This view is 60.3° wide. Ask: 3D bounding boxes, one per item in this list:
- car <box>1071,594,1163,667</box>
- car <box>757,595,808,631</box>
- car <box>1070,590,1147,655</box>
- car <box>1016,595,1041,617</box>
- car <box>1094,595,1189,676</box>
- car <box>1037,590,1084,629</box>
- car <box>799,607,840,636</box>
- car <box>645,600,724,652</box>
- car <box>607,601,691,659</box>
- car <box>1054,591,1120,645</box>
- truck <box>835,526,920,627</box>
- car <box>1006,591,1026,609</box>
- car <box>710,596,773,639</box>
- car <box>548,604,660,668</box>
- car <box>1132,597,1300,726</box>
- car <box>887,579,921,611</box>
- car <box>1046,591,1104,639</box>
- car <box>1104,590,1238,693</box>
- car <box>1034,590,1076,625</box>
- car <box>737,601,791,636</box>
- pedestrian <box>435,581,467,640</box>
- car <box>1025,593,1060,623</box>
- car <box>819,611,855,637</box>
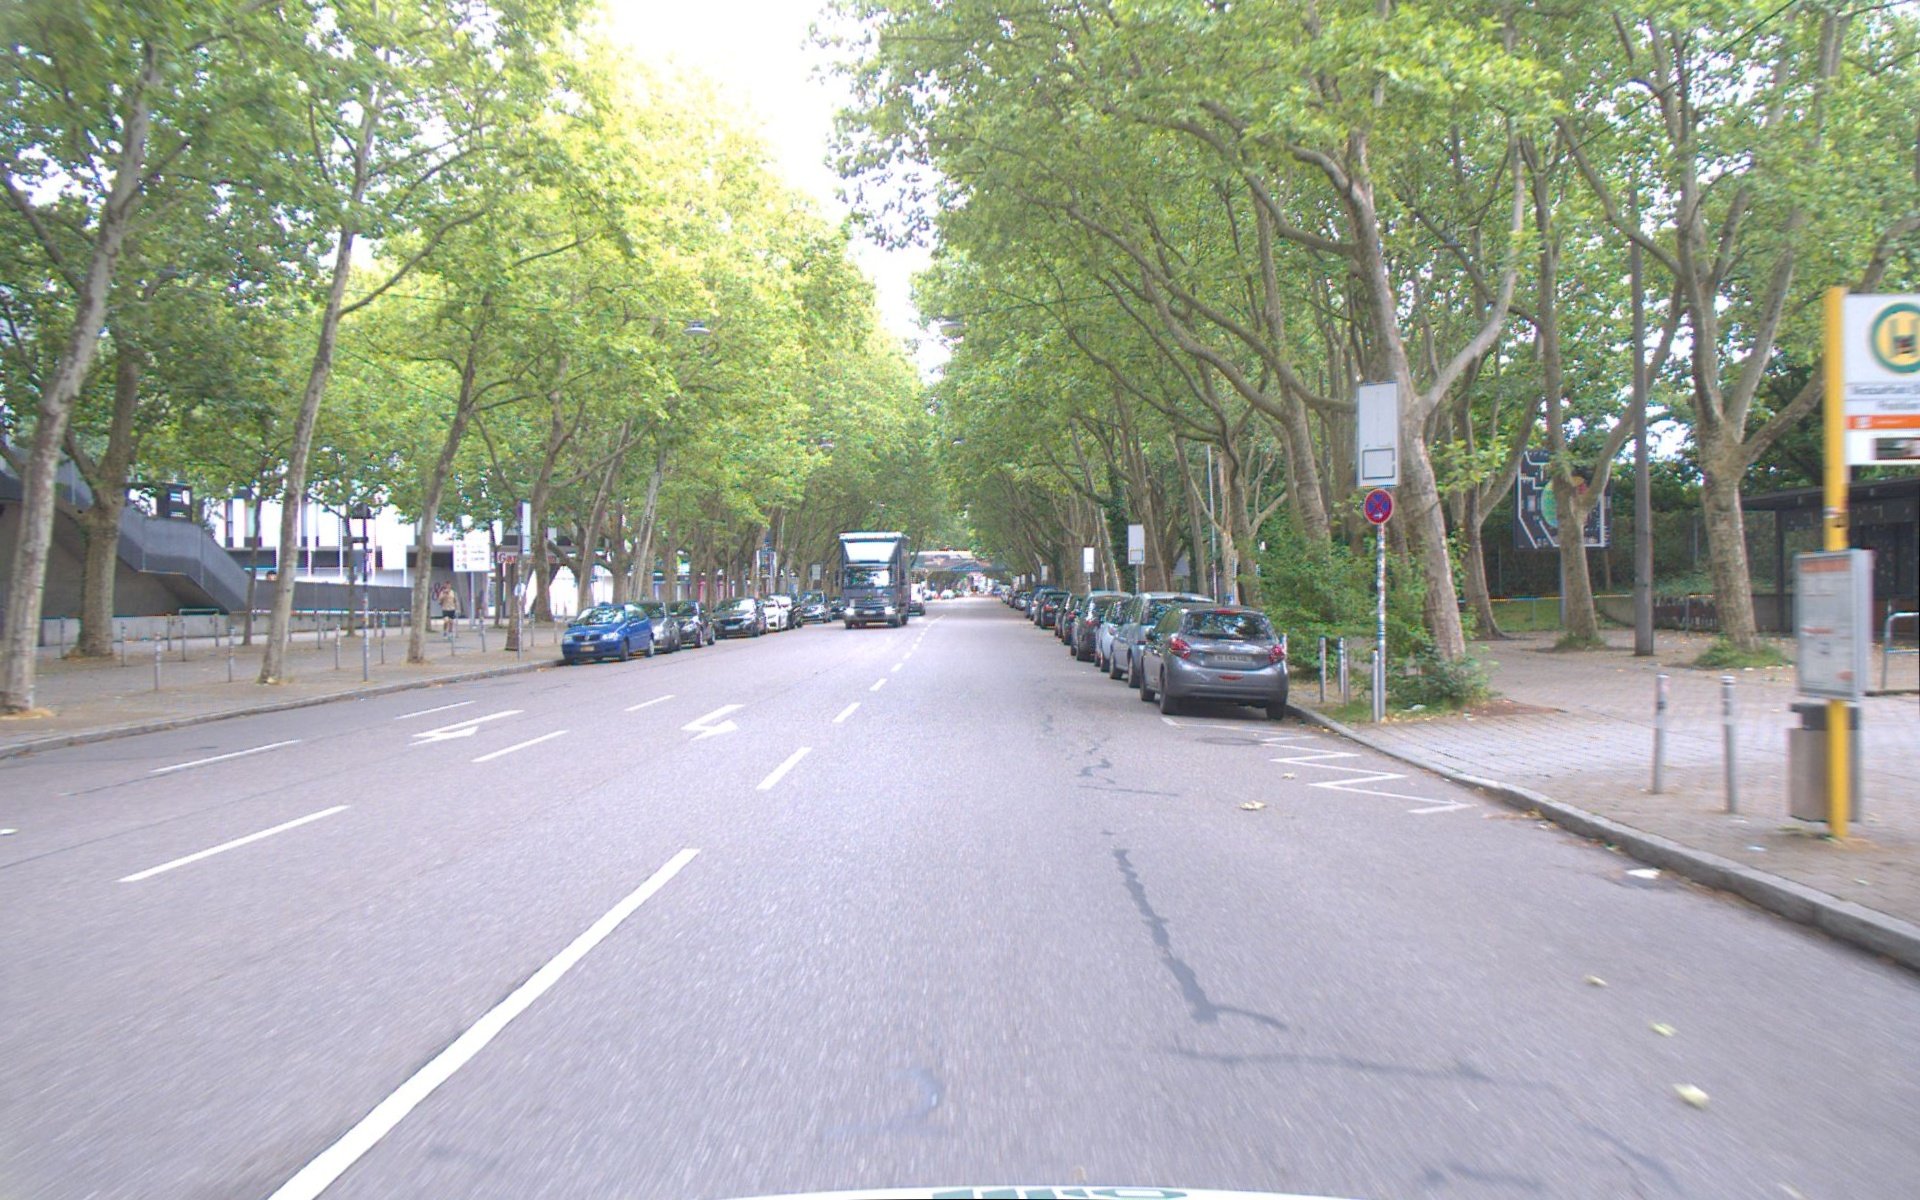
[{"bbox_3d":[3.640,0.679,39.063,1.720,1.516,4.417,3,0,0],"label":"car"},{"bbox_3d":[-7.927,0.616,74.143,1.856,1.463,3.999,-2,-2,-1],"label":"car"},{"bbox_3d":[3.959,0.576,44.728,1.720,1.625,3.929,2,0,0],"label":"car"},{"bbox_3d":[5.221,0.428,125.564,1.720,1.561,3.929,-2,0,0],"label":"car"},{"bbox_3d":[3.717,0.703,34.364,1.641,1.516,3.688,3,0,2],"label":"car"},{"bbox_3d":[4.210,0.386,69.566,1.720,1.561,3.929,2,0,0],"label":"car"},{"bbox_3d":[-7.509,1.162,88.490,1.856,1.463,3.999,-2,-2,-1],"label":"car"},{"bbox_3d":[-8.498,0.810,51.263,1.730,1.443,3.761,-3,-1,0],"label":"car"},{"bbox_3d":[-8.693,0.840,46.515,1.730,1.443,3.759,-3,-1,-3],"label":"car"},{"bbox_3d":[3.875,0.536,50.843,1.720,1.561,3.929,2,0,0],"label":"car"},{"bbox_3d":[-3.452,-0.947,71.356,2.586,3.970,9.544,-2,0,3],"label":"truck"},{"bbox_3d":[5.164,0.012,153.045,1.720,1.561,3.929,2,0,0],"label":"car"},{"bbox_3d":[-8.040,0.670,61.185,1.730,1.443,3.761,-3,-1,0],"label":"car"},{"bbox_3d":[-8.893,0.879,41.627,1.659,1.443,3.763,-4,-1,5],"label":"car"},{"bbox_3d":[3.532,0.790,23.542,1.664,1.545,4.454,3,0,0],"label":"car"},{"bbox_3d":[-3.494,-0.308,103.907,1.939,1.967,4.113,0,0,0],"label":"car"},{"bbox_3d":[3.969,0.508,57.580,1.720,1.561,3.929,2,0,0],"label":"car"},{"bbox_3d":[3.662,0.683,29.299,1.684,1.594,4.093,3,0,-1],"label":"car"},{"bbox_3d":[4.319,0.343,75.660,1.720,1.561,3.929,0,0,0],"label":"car"},{"bbox_3d":[-8.076,0.784,68.428,1.697,1.355,3.999,-2,-2,0],"label":"car"},{"bbox_3d":[-16.217,0.332,52.695,0.763,1.867,0.868,0,0,-34],"label":"pedestrian"},{"bbox_3d":[4.418,0.393,89.231,1.720,1.561,3.929,0,0,0],"label":"car"},{"bbox_3d":[-7.501,1.494,101.139,1.856,1.463,3.999,-2,-2,-1],"label":"car"}]
